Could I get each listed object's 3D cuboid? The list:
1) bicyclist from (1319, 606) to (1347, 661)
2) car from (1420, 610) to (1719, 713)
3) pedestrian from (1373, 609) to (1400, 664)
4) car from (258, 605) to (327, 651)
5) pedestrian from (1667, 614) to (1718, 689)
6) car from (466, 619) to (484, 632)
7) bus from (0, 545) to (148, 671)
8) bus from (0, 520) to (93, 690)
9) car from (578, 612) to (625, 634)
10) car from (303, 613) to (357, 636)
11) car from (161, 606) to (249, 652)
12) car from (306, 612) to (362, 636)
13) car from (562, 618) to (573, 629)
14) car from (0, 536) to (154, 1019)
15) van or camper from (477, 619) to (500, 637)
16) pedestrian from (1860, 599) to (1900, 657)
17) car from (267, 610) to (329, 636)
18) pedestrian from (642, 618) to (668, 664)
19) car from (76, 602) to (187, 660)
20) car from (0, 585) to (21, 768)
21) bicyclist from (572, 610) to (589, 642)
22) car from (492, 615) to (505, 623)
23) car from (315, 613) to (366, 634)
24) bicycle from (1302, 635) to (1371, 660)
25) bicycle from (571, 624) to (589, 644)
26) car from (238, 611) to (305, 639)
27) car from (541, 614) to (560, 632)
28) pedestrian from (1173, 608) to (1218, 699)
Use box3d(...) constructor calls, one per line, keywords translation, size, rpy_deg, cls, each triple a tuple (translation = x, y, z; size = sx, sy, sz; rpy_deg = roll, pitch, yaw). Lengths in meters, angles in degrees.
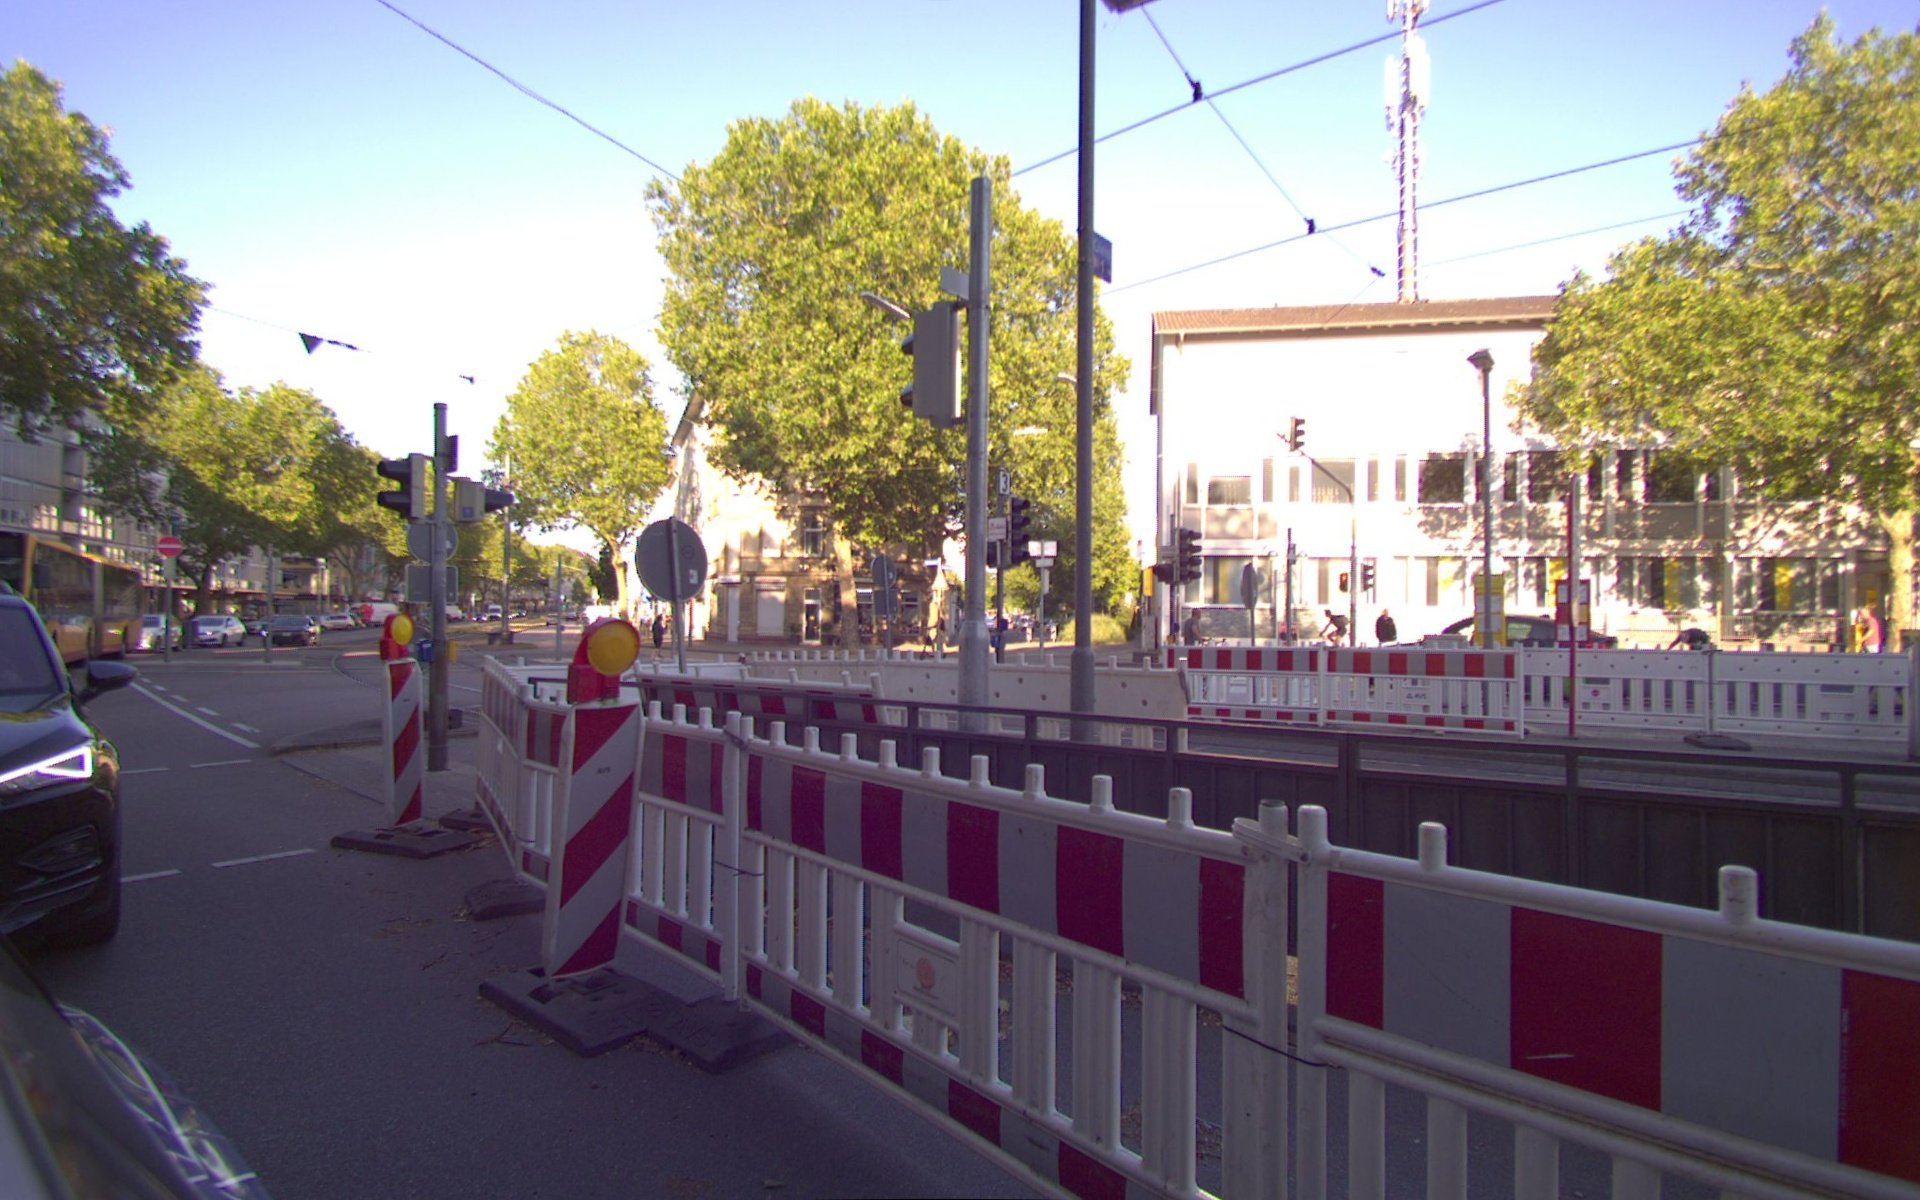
box3d(translation=(11.893, 1.061, 32.278), size=(0.757, 1.741, 0.671), rpy_deg=(0, -2, 13), cls="bicyclist")
box3d(translation=(11.200, 1.053, 18.755), size=(4.552, 1.674, 1.974), rpy_deg=(-1, -2, 38), cls="car")
box3d(translation=(12.361, 1.058, 29.323), size=(0.649, 1.564, 0.563), rpy_deg=(-1, -2, 28), cls="pedestrian")
box3d(translation=(-31.447, 1.311, 47.785), size=(1.965, 2.029, 4.013), rpy_deg=(1, -1, -22), cls="car")
box3d(translation=(18.415, 1.272, 25.474), size=(0.923, 1.847, 0.693), rpy_deg=(-1, -2, 28), cls="pedestrian")
box3d(translation=(-66.390, 3.532, 138.597), size=(1.809, 1.715, 4.143), rpy_deg=(1, -2, -19), cls="car")
box3d(translation=(-25.752, 0.273, 28.958), size=(2.676, 3.130, 8.622), rpy_deg=(1, -2, -31), cls="bus")
box3d(translation=(-20.812, 0.151, 21.685), size=(2.678, 3.130, 8.641), rpy_deg=(1, -2, -36), cls="bus")
box3d(translation=(-34.285, 2.199, 96.744), size=(1.990, 2.029, 3.963), rpy_deg=(0, -2, 27), cls="car")
box3d(translation=(-58.450, 2.275, 93.910), size=(3.938, 2.029, 2.002), rpy_deg=(1, -2, -42), cls="car")
box3d(translation=(-34.724, 1.337, 46.677), size=(1.966, 2.029, 4.012), rpy_deg=(1, -1, -17), cls="car")
box3d(translation=(-55.433, 2.127, 89.600), size=(3.938, 2.029, 2.002), rpy_deg=(1, -2, -42), cls="car")
box3d(translation=(-67.071, 4.067, 172.871), size=(1.661, 1.866, 4.013), rpy_deg=(1, -1, -20), cls="car")
box3d(translation=(-5.241, 0.643, 4.561), size=(3.998, 1.719, 1.818), rpy_deg=(-1, -2, 41), cls="car")
box3d(translation=(-73.982, 4.326, 158.876), size=(2.385, 2.739, 6.151), rpy_deg=(1, -1, -18), cls="van or camper")
box3d(translation=(23.595, 0.706, 25.972), size=(0.582, 1.466, 0.581), rpy_deg=(-1, -2, 25), cls="pedestrian")
box3d(translation=(-53.848, 1.858, 82.288), size=(3.938, 2.029, 2.002), rpy_deg=(1, -2, -42), cls="car")
box3d(translation=(-10.428, 1.402, 34.618), size=(0.594, 1.545, 0.746), rpy_deg=(1, -2, -38), cls="pedestrian")
box3d(translation=(-30.607, 1.146, 37.540), size=(1.965, 2.029, 4.111), rpy_deg=(1, -1, -21), cls="car")
box3d(translation=(-10.753, 0.696, 9.819), size=(4.073, 1.656, 1.973), rpy_deg=(-1, -2, 41), cls="car")
box3d(translation=(-24.136, 1.644, 64.330), size=(0.841, 2.029, 0.986), rpy_deg=(1, -2, -30), cls="bicyclist")
box3d(translation=(-81.092, 3.341, 177.934), size=(1.675, 1.481, 3.776), rpy_deg=(1, -2, -19), cls="car")
box3d(translation=(-60.091, 2.264, 98.212), size=(3.938, 2.029, 2.002), rpy_deg=(1, -2, -42), cls="car")
box3d(translation=(11.973, 1.509, 32.249), size=(1.971, 0.788, 0.678), rpy_deg=(0, -1, 13), cls="bicycle")
box3d(translation=(-24.170, 2.160, 64.290), size=(0.837, 1.202, 2.474), rpy_deg=(1, -2, -26), cls="bicycle")
box3d(translation=(-50.524, 1.860, 74.365), size=(3.932, 2.029, 2.006), rpy_deg=(1, -2, -32), cls="car")
box3d(translation=(-48.378, 2.733, 119.527), size=(1.965, 2.029, 4.013), rpy_deg=(1, -1, -20), cls="car")
box3d(translation=(4.648, 1.043, 19.981), size=(0.545, 1.760, 0.693), rpy_deg=(1, -2, -24), cls="pedestrian")
